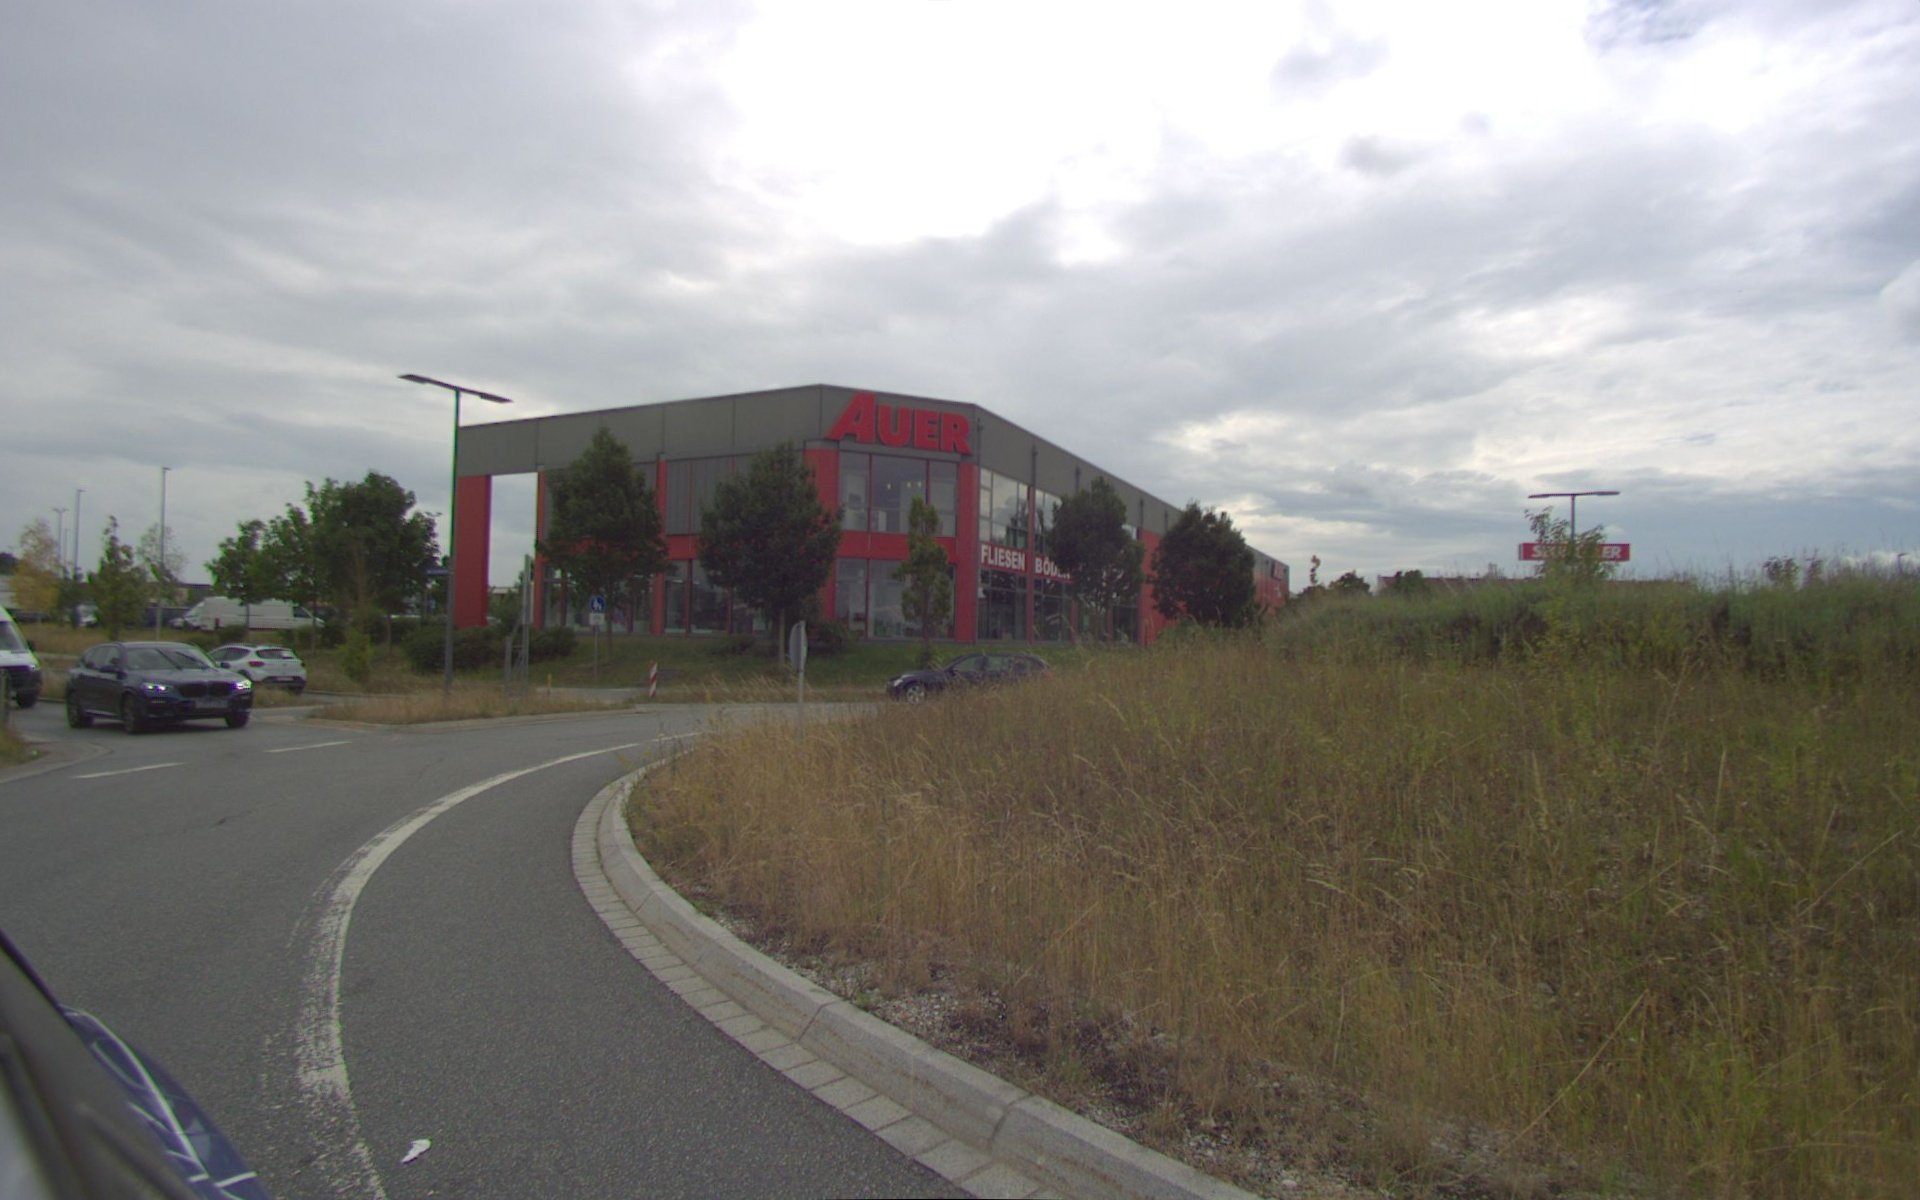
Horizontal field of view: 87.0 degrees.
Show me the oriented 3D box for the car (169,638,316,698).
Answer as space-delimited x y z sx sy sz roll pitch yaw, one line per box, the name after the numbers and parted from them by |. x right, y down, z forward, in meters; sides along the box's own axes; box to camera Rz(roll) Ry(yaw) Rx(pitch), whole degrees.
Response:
-22.211 2.105 31.327 4.060 1.570 1.720 1 -6 23 | car

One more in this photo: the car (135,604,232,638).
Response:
-54.710 1.526 71.425 2.058 2.240 5.001 0 -2 33 | car

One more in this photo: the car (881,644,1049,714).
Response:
0.063 2.046 26.587 4.233 1.620 2.002 1 0 -4 | car

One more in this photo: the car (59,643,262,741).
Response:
-15.473 1.699 19.553 3.987 1.620 1.848 0 -2 33 | car

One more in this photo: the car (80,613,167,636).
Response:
-66.888 1.976 80.968 2.060 1.669 4.996 0 -3 35 | car

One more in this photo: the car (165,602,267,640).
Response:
-48.790 1.359 66.504 2.053 2.391 5.013 1 0 26 | car

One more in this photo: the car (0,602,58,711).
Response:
-25.073 1.297 24.896 6.070 2.547 2.010 0 -2 25 | car

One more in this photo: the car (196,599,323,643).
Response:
-44.287 1.292 64.161 2.056 2.644 6.355 1 0 29 | car

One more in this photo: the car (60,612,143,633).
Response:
-72.730 1.903 85.823 2.060 1.669 4.996 0 -3 35 | car
